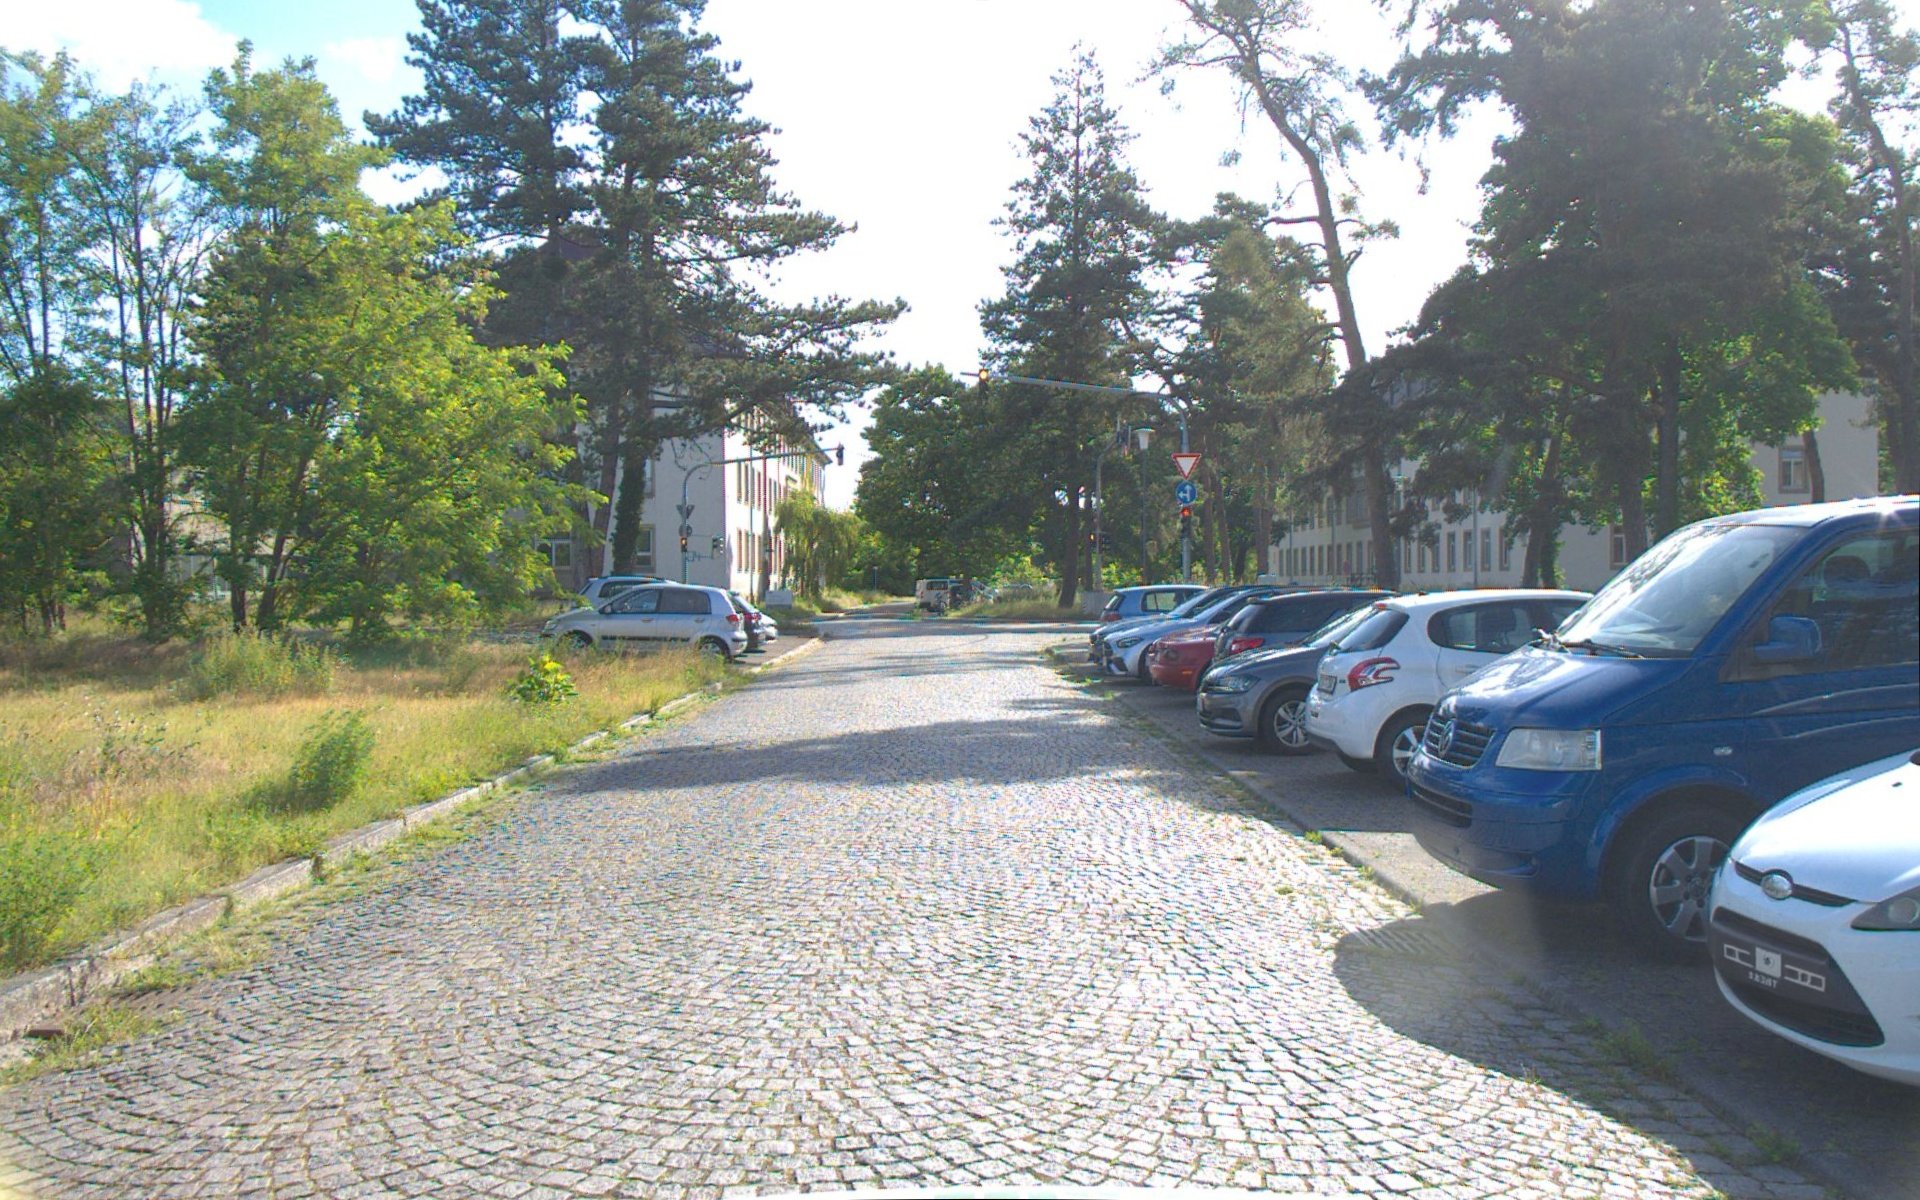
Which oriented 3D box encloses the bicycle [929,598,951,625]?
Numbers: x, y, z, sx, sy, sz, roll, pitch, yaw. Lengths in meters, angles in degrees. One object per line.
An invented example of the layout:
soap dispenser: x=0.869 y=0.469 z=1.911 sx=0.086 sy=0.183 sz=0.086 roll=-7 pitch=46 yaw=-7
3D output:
bicycle: x=-0.928 y=0.515 z=77.066 sx=0.789 sy=1.190 sz=2.177 roll=-2 pitch=1 yaw=-7

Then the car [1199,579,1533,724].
car: x=4.588 y=0.552 z=18.988 sx=3.408 sy=1.556 sz=1.645 roll=-1 pitch=1 yaw=-2

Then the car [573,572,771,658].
car: x=-6.215 y=0.304 z=36.047 sx=3.907 sy=1.629 sz=2.000 roll=3 pitch=0 yaw=-2

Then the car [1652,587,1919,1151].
car: x=4.397 y=0.702 z=5.322 sx=3.645 sy=1.514 sz=1.644 roll=-1 pitch=1 yaw=-3

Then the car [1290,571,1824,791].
car: x=4.630 y=0.594 z=13.182 sx=3.619 sy=1.491 sz=1.645 roll=-2 pitch=0 yaw=0

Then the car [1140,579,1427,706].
car: x=4.172 y=0.525 z=21.672 sx=3.408 sy=1.556 sz=1.645 roll=-1 pitch=1 yaw=-2

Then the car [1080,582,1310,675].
car: x=4.060 y=0.474 z=28.982 sx=3.758 sy=1.556 sz=1.645 roll=-1 pitch=1 yaw=-2

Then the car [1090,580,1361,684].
car: x=4.155 y=0.478 z=26.212 sx=3.955 sy=1.556 sz=1.644 roll=-1 pitch=1 yaw=-5

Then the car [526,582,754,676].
car: x=-5.853 y=0.503 z=30.665 sx=3.908 sy=1.628 sz=1.999 roll=-1 pitch=1 yaw=-4

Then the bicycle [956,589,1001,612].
bicycle: x=0.911 y=0.007 z=81.651 sx=2.134 sy=1.119 sz=0.805 roll=0 pitch=0 yaw=-11

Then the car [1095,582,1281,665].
car: x=4.316 y=0.420 z=31.626 sx=3.276 sy=1.508 sz=1.645 roll=-1 pitch=1 yaw=-2

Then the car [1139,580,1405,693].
car: x=4.472 y=0.498 z=24.035 sx=3.530 sy=1.556 sz=1.645 roll=-1 pitch=1 yaw=-2

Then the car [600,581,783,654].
car: x=-6.183 y=0.383 z=38.449 sx=3.906 sy=1.478 sz=2.000 roll=2 pitch=1 yaw=-2

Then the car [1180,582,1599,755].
car: x=4.078 y=0.618 z=16.060 sx=3.601 sy=1.492 sz=1.645 roll=-1 pitch=1 yaw=-2

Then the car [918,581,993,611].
car: x=-0.282 y=-0.264 z=98.008 sx=4.390 sy=1.758 sz=2.000 roll=0 pitch=0 yaw=-2

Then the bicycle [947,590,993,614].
bicycle: x=0.488 y=0.097 z=80.551 sx=2.134 sy=1.119 sz=0.805 roll=0 pitch=0 yaw=-11

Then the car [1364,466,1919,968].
car: x=4.518 y=0.446 z=7.981 sx=4.584 sy=2.049 sz=2.082 roll=-1 pitch=1 yaw=-4
